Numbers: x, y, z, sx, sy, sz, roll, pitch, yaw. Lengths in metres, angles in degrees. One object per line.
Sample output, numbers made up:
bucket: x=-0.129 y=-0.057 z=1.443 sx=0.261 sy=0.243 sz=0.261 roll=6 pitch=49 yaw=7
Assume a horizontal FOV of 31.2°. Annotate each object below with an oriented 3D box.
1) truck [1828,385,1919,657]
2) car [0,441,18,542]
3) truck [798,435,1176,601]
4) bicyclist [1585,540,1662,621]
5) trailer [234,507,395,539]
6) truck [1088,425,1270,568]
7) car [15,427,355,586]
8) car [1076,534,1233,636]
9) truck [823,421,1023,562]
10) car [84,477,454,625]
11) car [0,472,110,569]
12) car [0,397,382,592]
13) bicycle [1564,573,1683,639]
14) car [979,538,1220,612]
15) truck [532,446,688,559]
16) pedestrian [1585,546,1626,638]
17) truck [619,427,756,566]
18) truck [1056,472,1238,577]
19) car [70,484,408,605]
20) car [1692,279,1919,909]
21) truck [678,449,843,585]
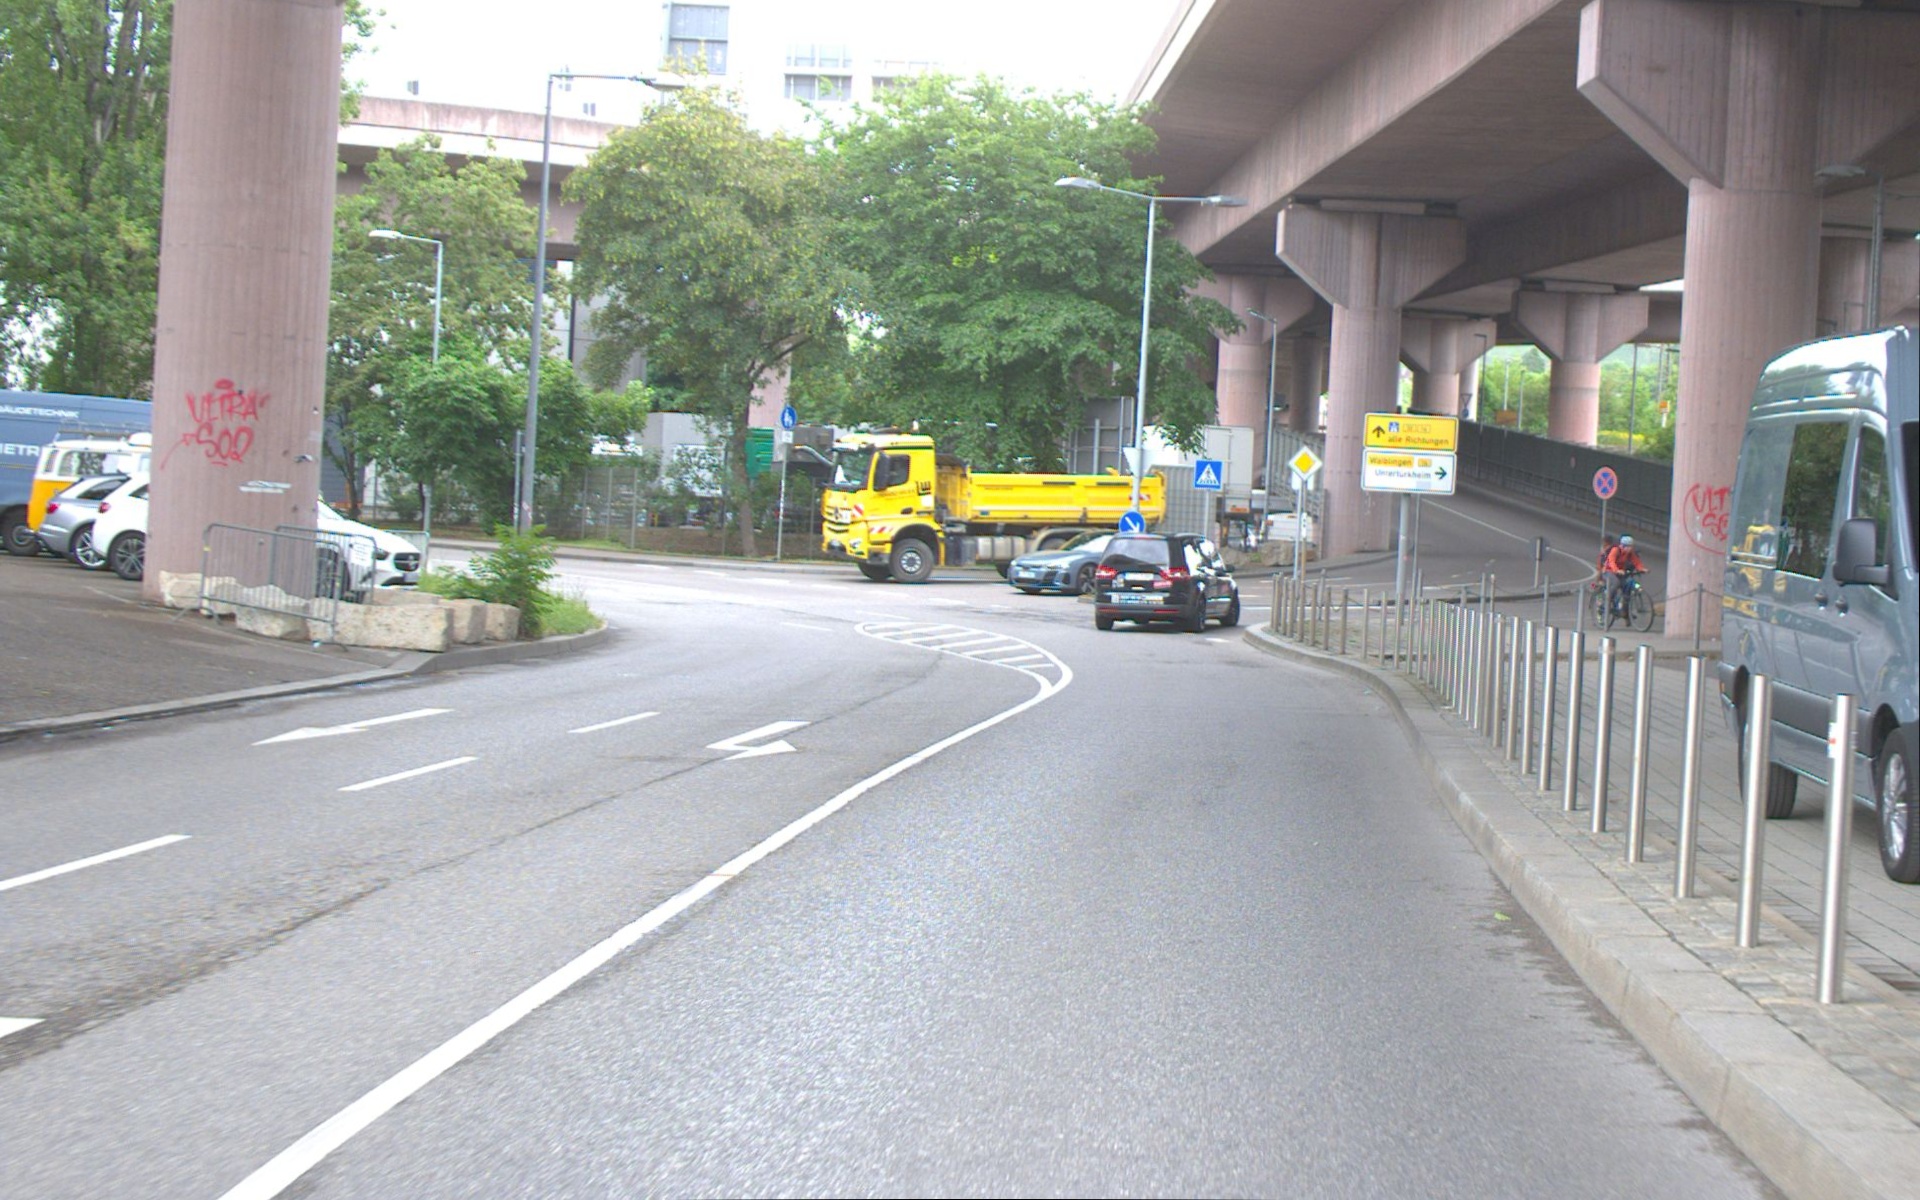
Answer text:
truck: x=20.090 y=-1.359 z=65.300 sx=3.145 sy=4.900 sz=8.696 roll=3 pitch=1 yaw=41
car: x=-22.398 y=-2.353 z=71.101 sx=5.090 sy=2.065 sz=2.259 roll=2 pitch=0 yaw=3
truck: x=0.647 y=-1.913 z=80.602 sx=8.215 sy=3.469 sz=2.938 roll=1 pitch=5 yaw=-23
bicyclist: x=11.626 y=-0.342 z=60.230 sx=0.796 sy=1.400 sz=1.066 roll=0 pitch=1 yaw=-31
trailer: x=-20.529 y=-2.468 z=109.171 sx=2.150 sy=0.740 sz=6.292 roll=-3 pitch=5 yaw=-41
truck: x=6.969 y=-3.406 z=110.871 sx=3.064 sy=4.284 sz=8.052 roll=1 pitch=3 yaw=-17
car: x=-11.728 y=-1.412 z=52.162 sx=4.557 sy=2.104 sz=1.850 roll=4 pitch=1 yaw=8
car: x=3.463 y=-0.278 z=60.335 sx=1.995 sy=1.673 sz=4.558 roll=1 pitch=1 yaw=13
truck: x=-1.175 y=-3.247 z=101.075 sx=3.065 sy=3.854 sz=8.051 roll=1 pitch=3 yaw=-22
car: x=-9.311 y=-0.668 z=46.431 sx=4.383 sy=1.600 sz=1.953 roll=5 pitch=2 yaw=12
car: x=-17.830 y=-1.482 z=63.618 sx=3.986 sy=1.734 sz=2.022 roll=1 pitch=1 yaw=-12
car: x=-12.634 y=-1.698 z=54.910 sx=6.176 sy=2.715 sz=2.367 roll=4 pitch=1 yaw=5
bicycle: x=11.612 y=0.100 z=60.256 sx=0.802 sy=1.094 sz=2.131 roll=0 pitch=1 yaw=-31
car: x=3.076 y=-0.544 z=75.363 sx=4.916 sy=1.496 sz=2.173 roll=1 pitch=1 yaw=-35
truck: x=-12.417 y=-3.504 z=121.374 sx=3.054 sy=3.606 sz=7.918 roll=1 pitch=3 yaw=-24
pedestrian: x=11.918 y=-0.149 z=63.486 sx=0.536 sy=1.670 sz=0.558 roll=0 pitch=2 yaw=-13
truck: x=-9.974 y=-3.831 z=125.149 sx=3.202 sy=4.763 sz=8.052 roll=1 pitch=3 yaw=-17
truck: x=5.603 y=-2.328 z=103.995 sx=2.914 sy=2.889 sz=6.561 roll=1 pitch=3 yaw=-22
car: x=-10.342 y=-0.802 z=49.446 sx=4.246 sy=1.366 sz=1.999 roll=5 pitch=2 yaw=10
car: x=5.138 y=-0.062 z=17.090 sx=1.994 sy=2.604 sz=6.074 roll=1 pitch=1 yaw=4
truck: x=-6.169 y=-2.541 z=105.256 sx=3.064 sy=3.949 sz=6.925 roll=2 pitch=1 yaw=-20
